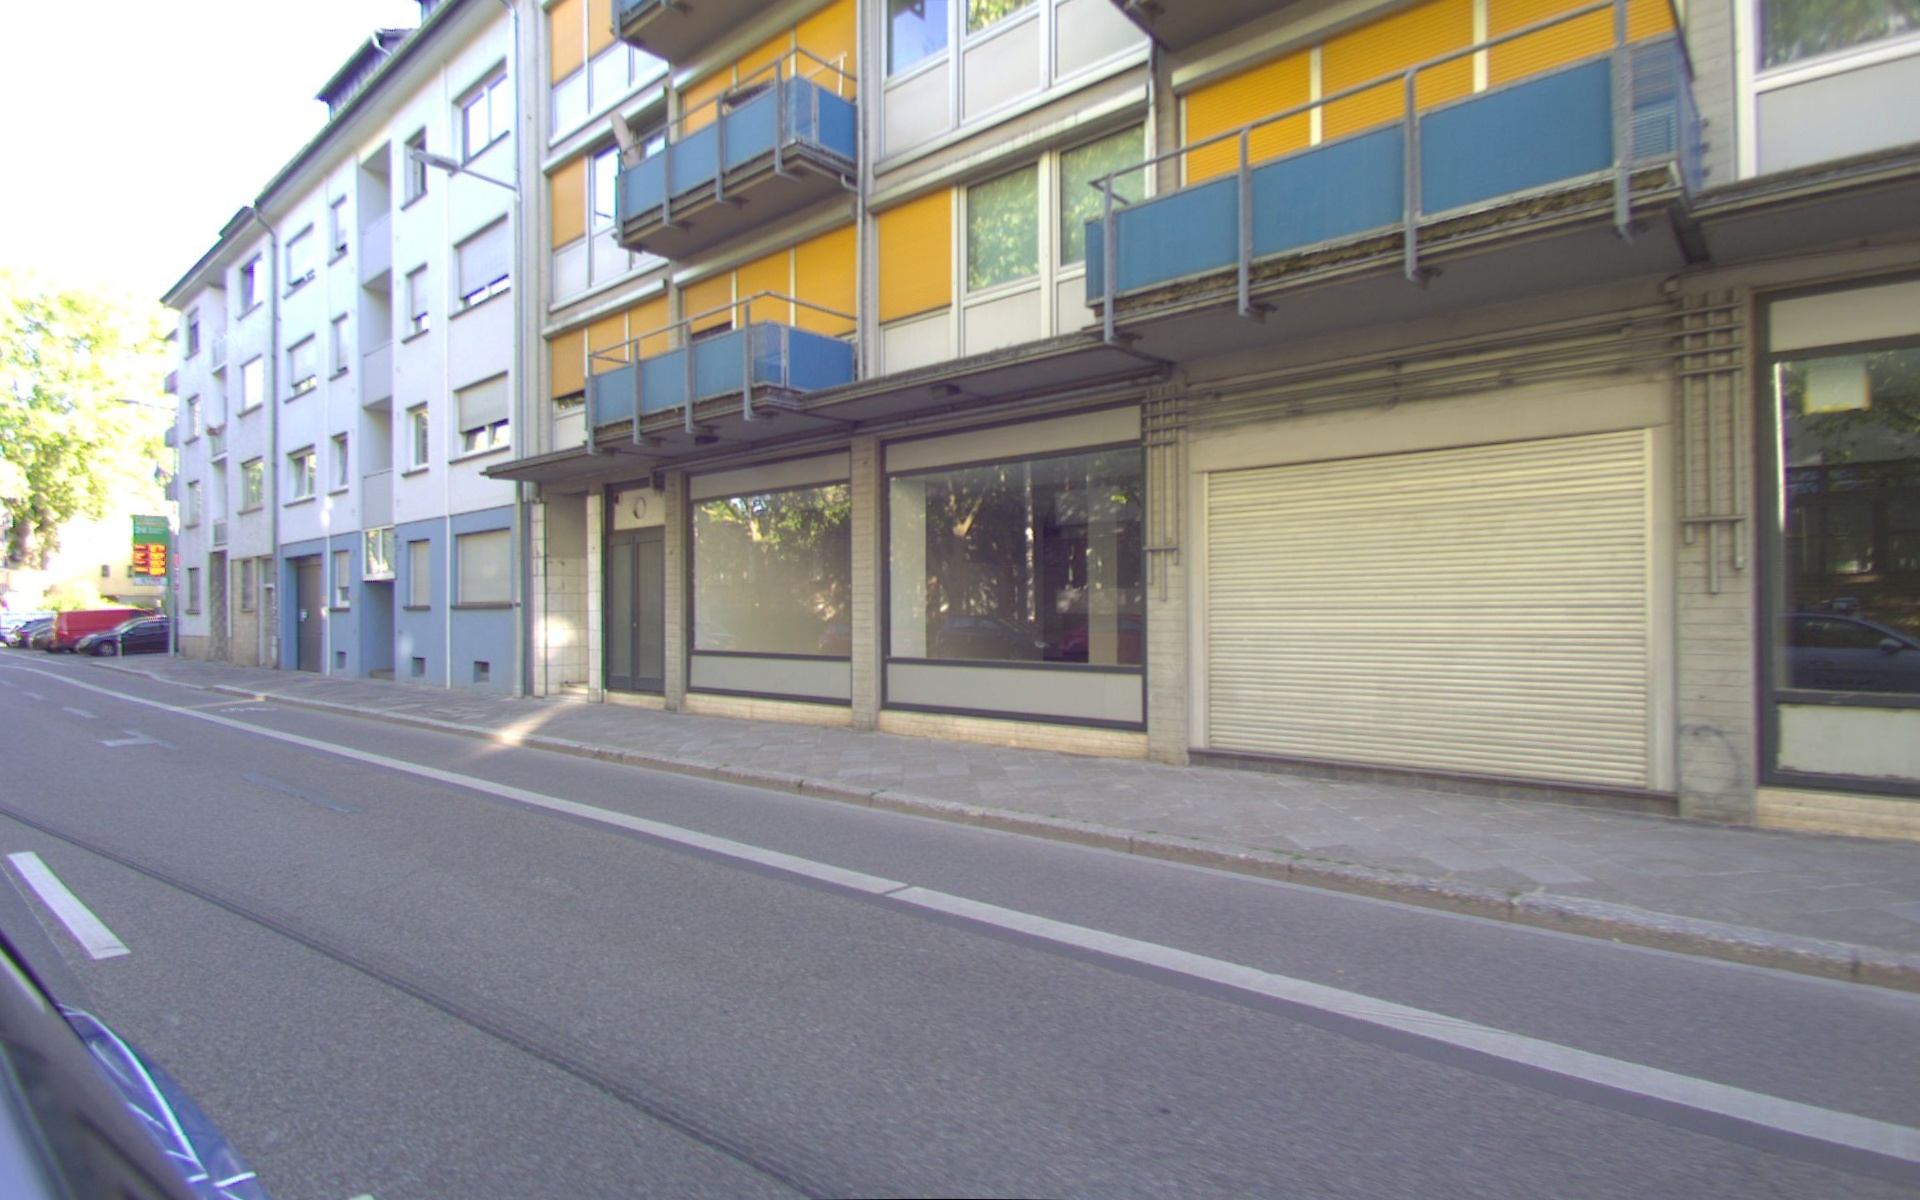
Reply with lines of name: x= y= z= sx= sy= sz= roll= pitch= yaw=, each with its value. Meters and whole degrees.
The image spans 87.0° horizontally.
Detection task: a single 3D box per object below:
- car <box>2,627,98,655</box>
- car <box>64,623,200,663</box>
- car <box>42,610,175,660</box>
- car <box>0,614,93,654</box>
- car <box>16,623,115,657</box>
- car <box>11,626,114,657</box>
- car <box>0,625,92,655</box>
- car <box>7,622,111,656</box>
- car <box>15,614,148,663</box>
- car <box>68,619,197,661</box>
car: x=-52.648 y=2.356 z=58.588 sx=1.852 sy=1.444 sz=3.945 roll=-2 pitch=0 yaw=41
car: x=-34.934 y=1.777 z=42.785 sx=2.045 sy=1.390 sz=4.184 roll=-1 pitch=1 yaw=42
car: x=-38.850 y=1.573 z=46.246 sx=2.145 sy=1.966 sz=4.375 roll=-2 pitch=1 yaw=42
car: x=-57.542 y=2.099 z=63.268 sx=2.139 sy=2.233 sz=4.794 roll=-2 pitch=0 yaw=41
car: x=-46.757 y=2.060 z=52.942 sx=1.830 sy=1.524 sz=3.647 roll=-2 pitch=1 yaw=41
car: x=-48.313 y=2.195 z=54.531 sx=1.915 sy=1.466 sz=3.945 roll=-2 pitch=0 yaw=41
car: x=-54.214 y=2.337 z=60.030 sx=1.852 sy=1.571 sz=3.945 roll=-2 pitch=-1 yaw=41
car: x=-50.698 y=2.145 z=56.980 sx=2.027 sy=1.696 sz=4.150 roll=-2 pitch=0 yaw=41
car: x=-41.339 y=1.769 z=47.696 sx=2.056 sy=1.966 sz=4.475 roll=-2 pitch=1 yaw=42
car: x=-36.400 y=1.721 z=44.592 sx=1.886 sy=1.575 sz=4.129 roll=-1 pitch=1 yaw=42
